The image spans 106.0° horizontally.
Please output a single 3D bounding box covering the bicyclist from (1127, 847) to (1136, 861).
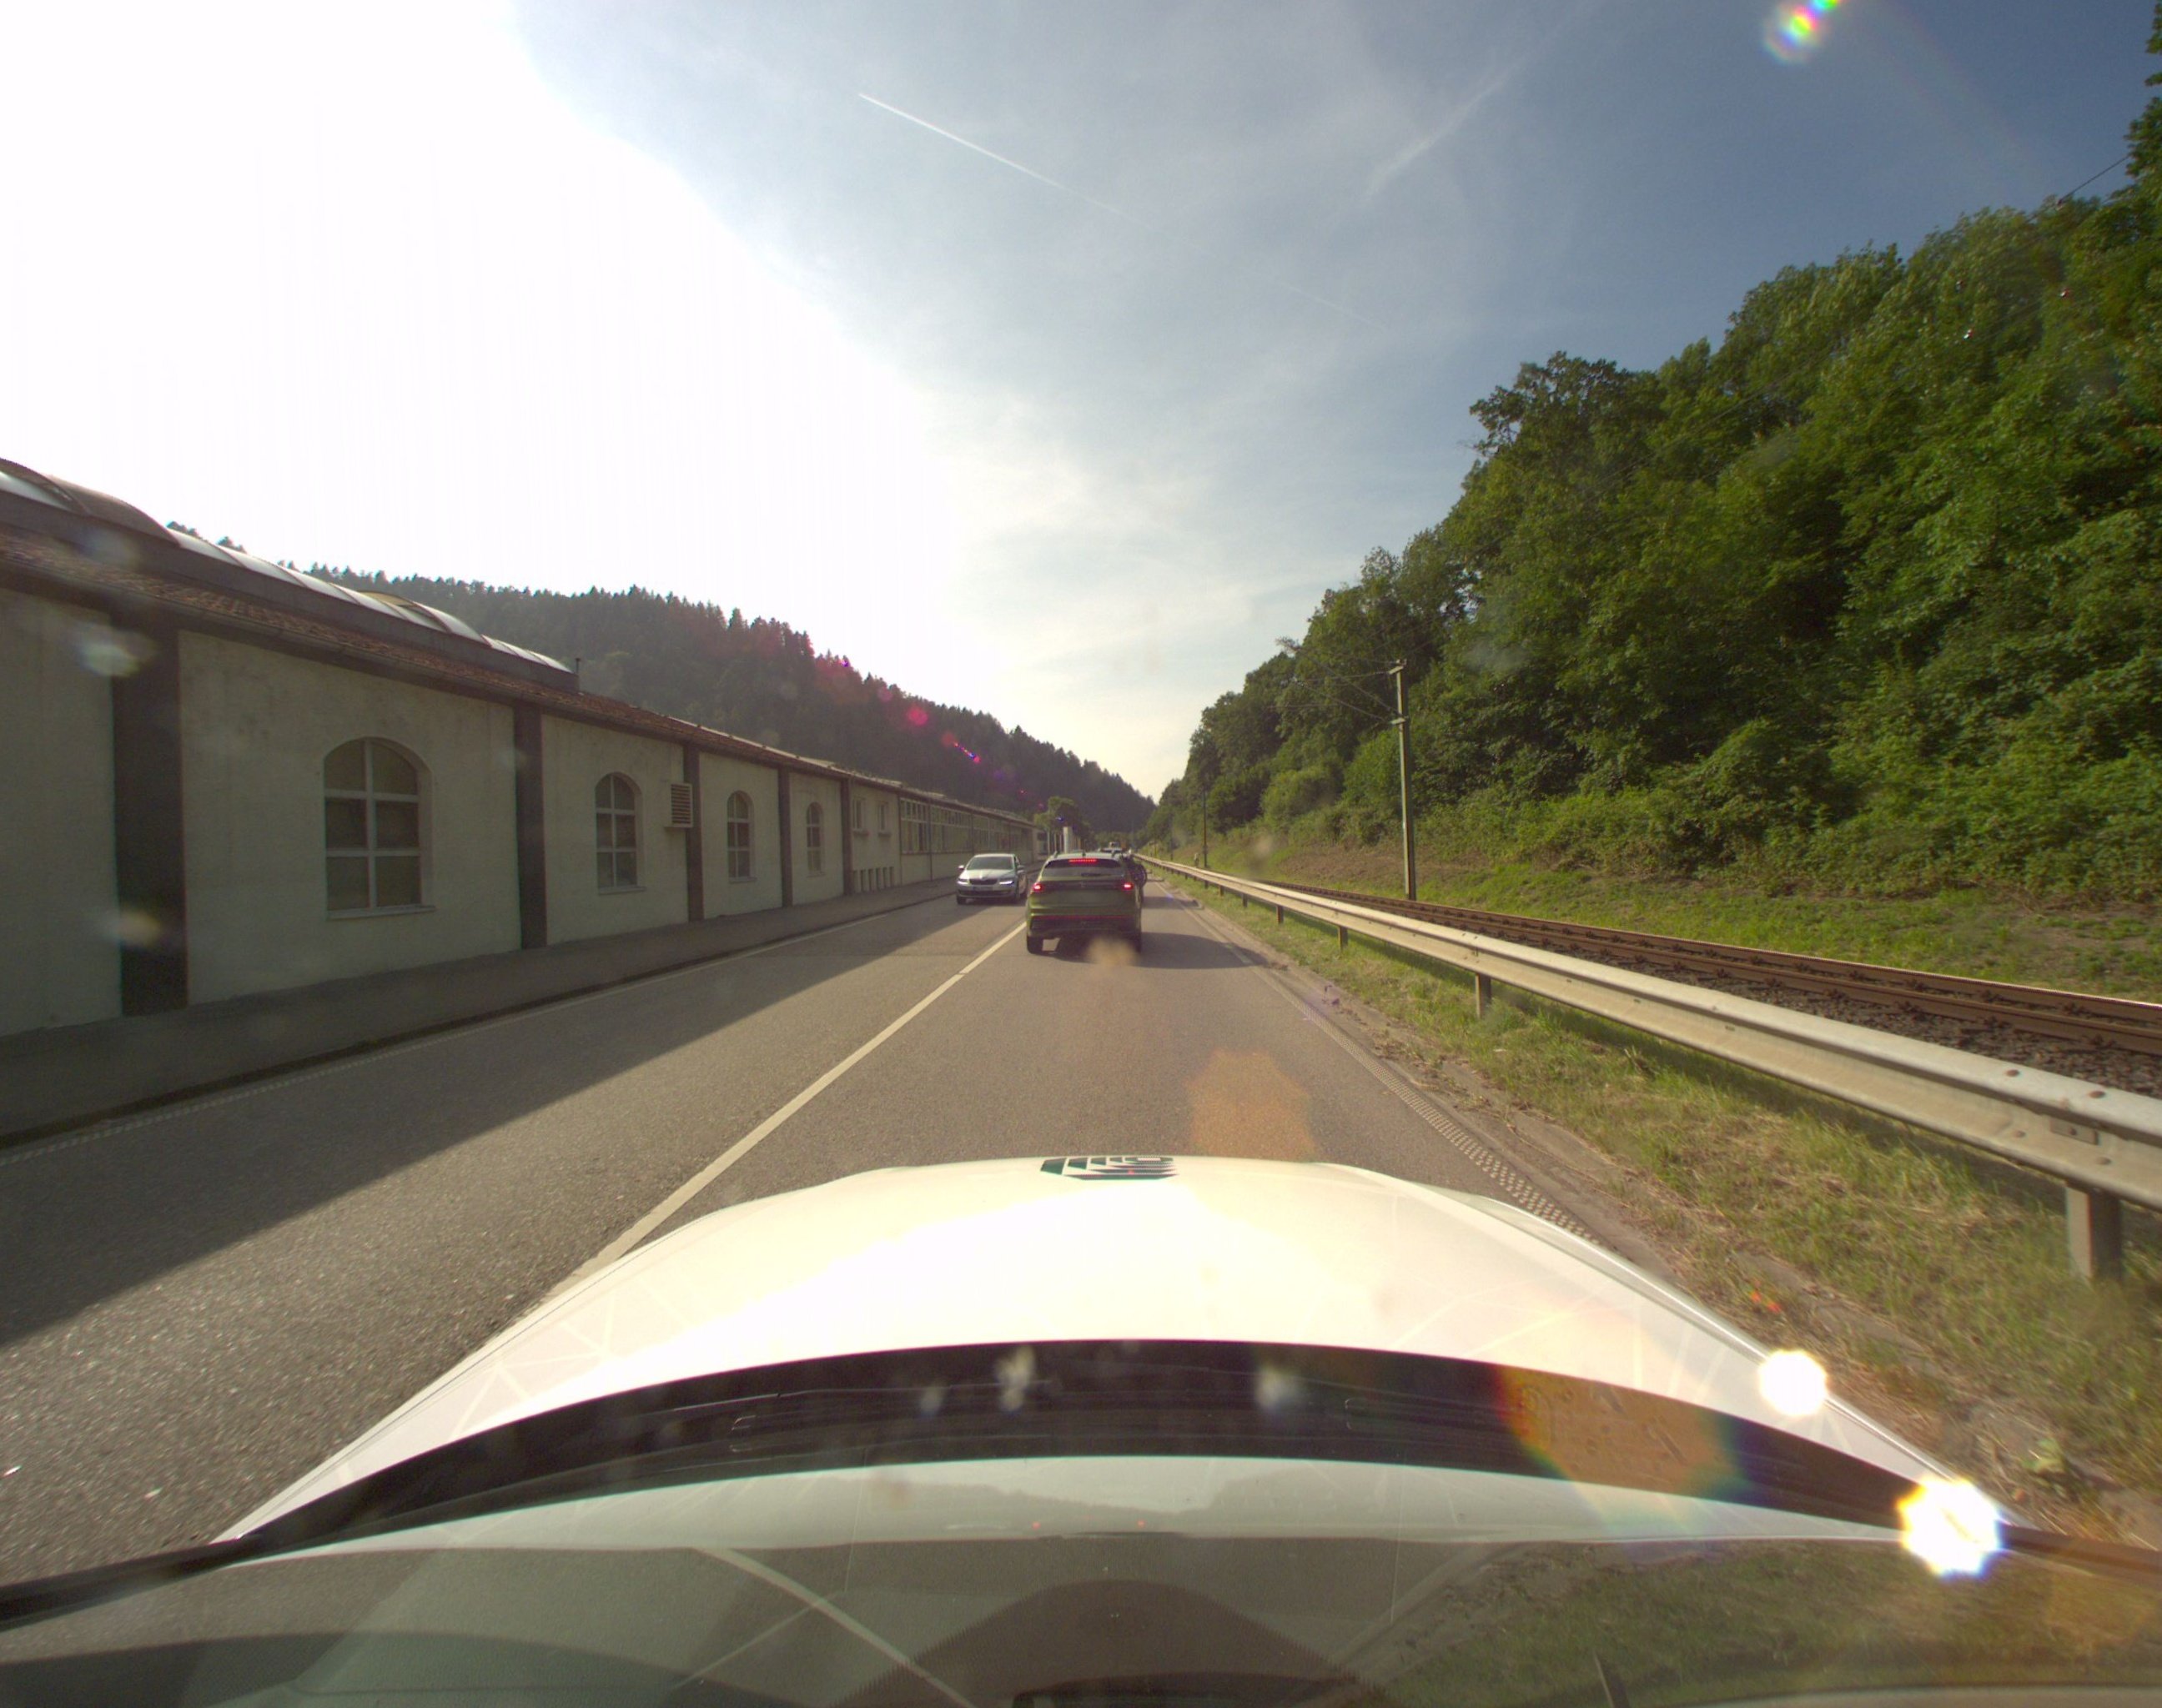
[{"bbox_3d":[5.168,-0.041,83.511,0.779,1.411,0.675,-1,0,0],"label":"bicyclist"}]

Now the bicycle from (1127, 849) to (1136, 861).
[{"bbox_3d":[5.171,0.117,83.576,0.809,1.250,2.123,-1,0,0],"label":"bicycle"}]

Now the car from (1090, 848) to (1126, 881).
[{"bbox_3d":[1.362,0.496,41.667,1.733,1.602,4.001,-1,0,1],"label":"car"}]

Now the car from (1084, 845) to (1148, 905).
[{"bbox_3d":[1.002,0.564,24.090,1.733,1.602,4.001,-1,0,1],"label":"car"}]

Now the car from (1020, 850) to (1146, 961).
[{"bbox_3d":[0.085,0.711,13.331,1.733,1.508,4.001,-1,0,1],"label":"car"}]

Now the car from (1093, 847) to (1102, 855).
[{"bbox_3d":[3.372,-0.588,166.193,1.712,1.514,4.201,0,0,2],"label":"car"}]

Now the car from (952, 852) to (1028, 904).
[{"bbox_3d":[-2.664,0.666,24.814,1.733,1.392,4.111,-1,0,1],"label":"car"}]

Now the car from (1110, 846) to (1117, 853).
[{"bbox_3d":[9.911,-1.364,246.536,1.986,2.014,4.001,0,0,1],"label":"car"}]

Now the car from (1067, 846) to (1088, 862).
[{"bbox_3d":[-0.351,-0.013,83.303,1.922,1.581,4.461,0,0,2],"label":"car"}]
